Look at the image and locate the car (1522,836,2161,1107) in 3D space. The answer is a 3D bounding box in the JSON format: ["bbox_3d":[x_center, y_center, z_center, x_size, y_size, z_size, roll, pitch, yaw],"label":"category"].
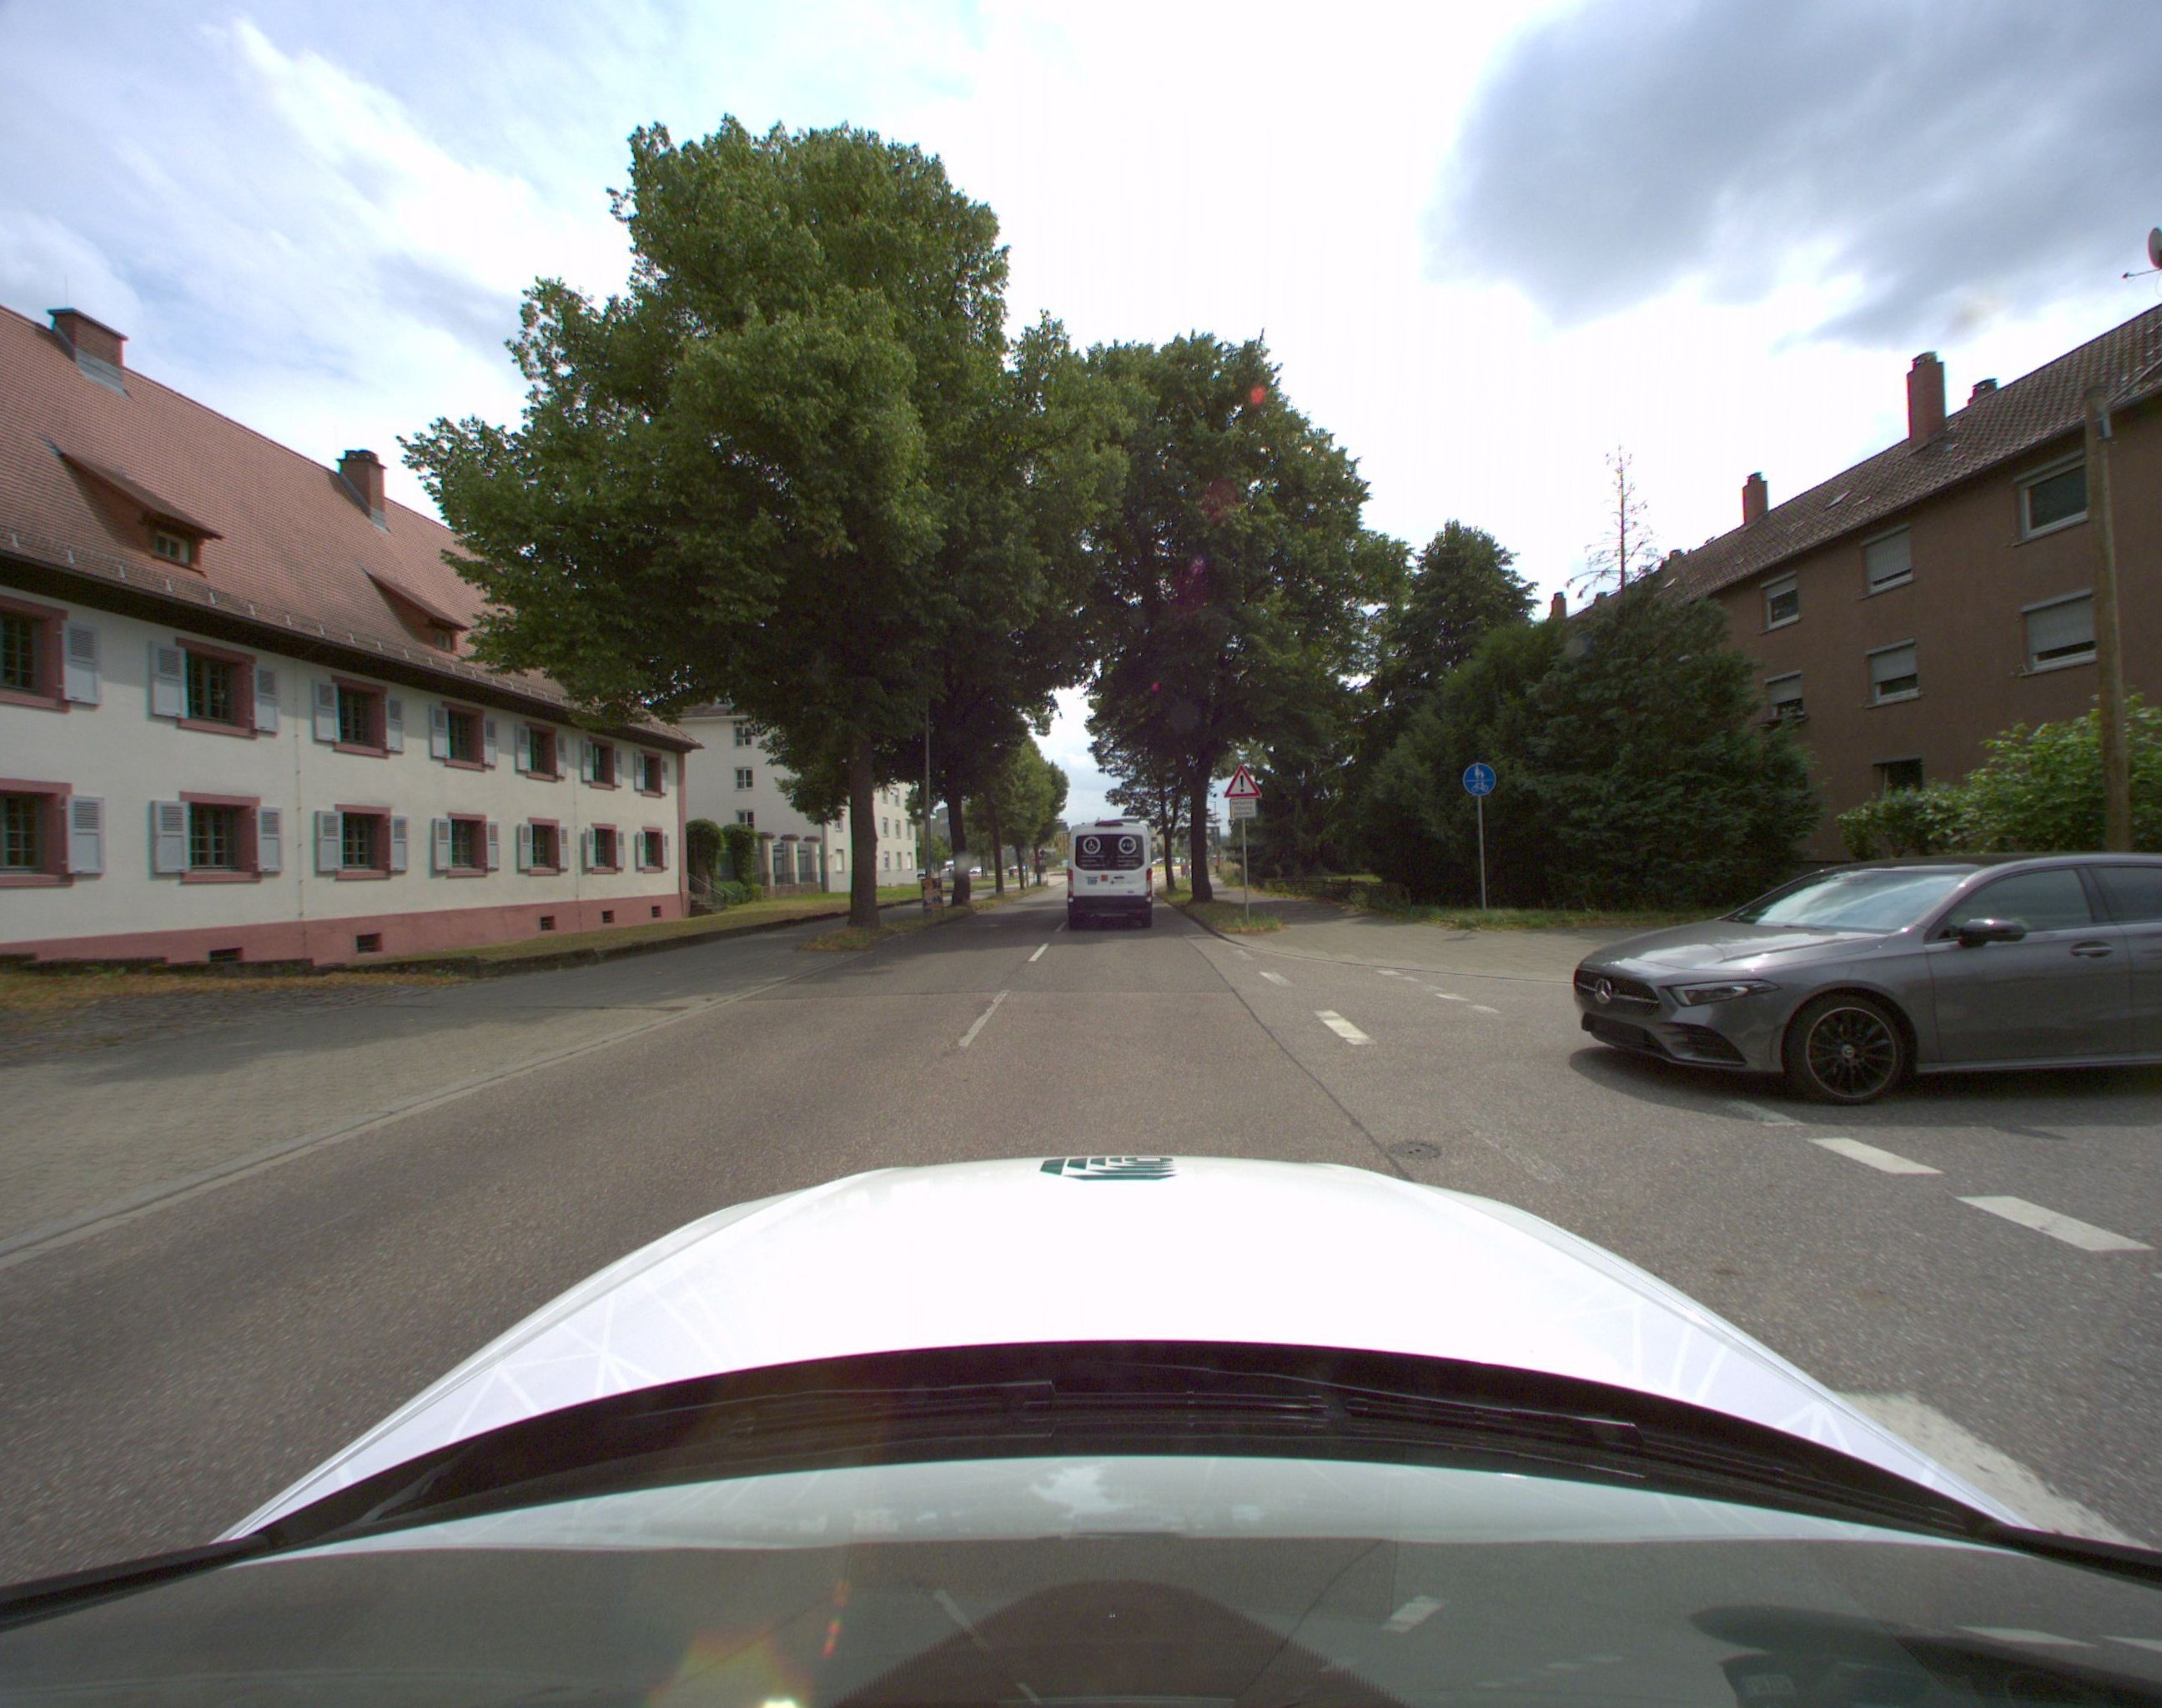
[{"bbox_3d":[5.812,0.677,5.647,4.353,1.443,2.012,-3,-3,3],"label":"car"}]

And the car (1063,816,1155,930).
[{"bbox_3d":[0.686,0.476,20.503,2.055,2.540,4.001,-1,-1,1],"label":"car"}]
